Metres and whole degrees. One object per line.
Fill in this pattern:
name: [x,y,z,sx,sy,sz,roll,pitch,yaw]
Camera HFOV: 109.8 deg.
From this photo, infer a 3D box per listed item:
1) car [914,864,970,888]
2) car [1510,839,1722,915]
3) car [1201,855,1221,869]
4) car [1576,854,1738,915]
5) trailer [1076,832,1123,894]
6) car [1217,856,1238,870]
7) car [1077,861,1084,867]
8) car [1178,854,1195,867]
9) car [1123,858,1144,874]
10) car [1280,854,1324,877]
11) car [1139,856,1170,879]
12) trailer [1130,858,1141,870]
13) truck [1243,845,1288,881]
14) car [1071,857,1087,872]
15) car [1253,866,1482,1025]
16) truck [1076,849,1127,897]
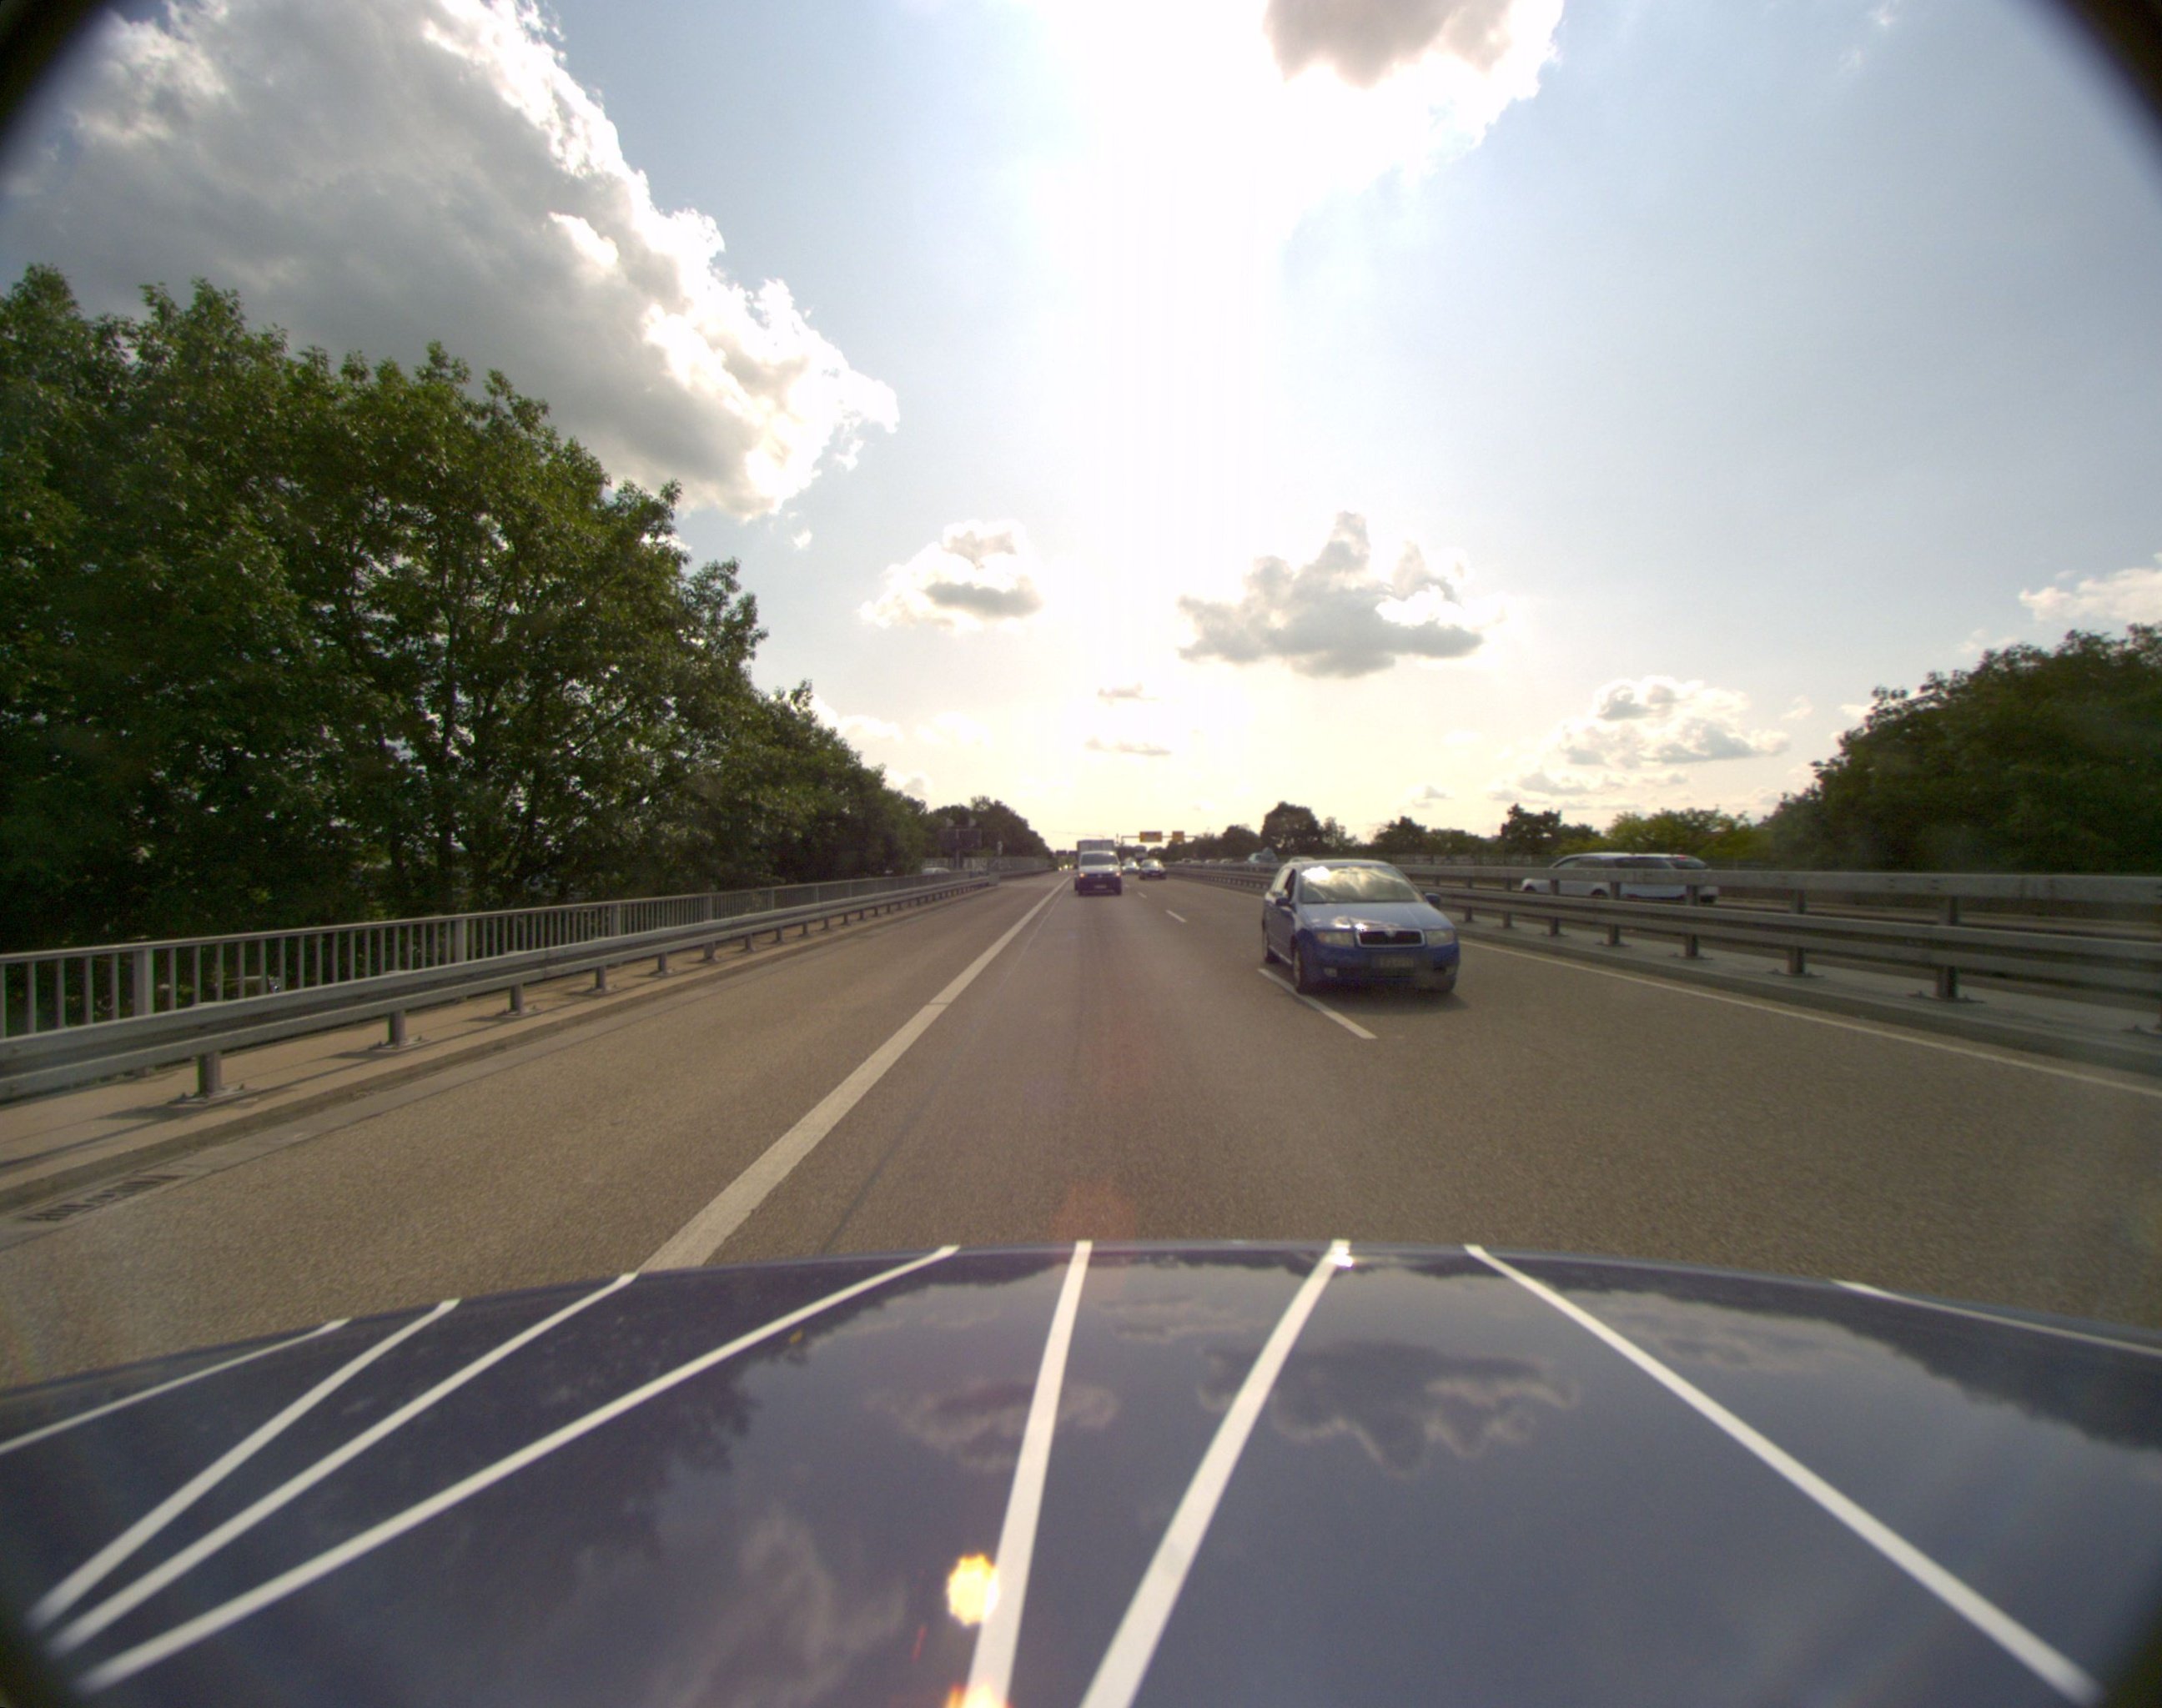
car: [-9.362,1.443,51.403,1.765,1.403,3.777,-2,0,26]
car: [12.392,0.486,18.016,1.907,1.520,4.242,-2,0,-2]
car: [16.677,1.064,97.419,1.586,1.700,4.411,-2,-1,-1]
car: [16.797,0.836,22.450,1.833,1.572,3.954,-2,0,2]
trailer: [0.835,0.418,37.615,1.999,2.723,5.967,-2,0,0]
car: [16.804,1.016,87.122,1.602,1.466,3.631,1,0,-2]
car: [-0.200,3.027,232.371,1.895,1.518,4.465,-2,0,1]
car: [17.671,1.117,127.387,1.965,1.913,5.191,-3,-1,-2]
car: [5.503,1.251,79.564,1.895,1.518,4.465,-2,0,1]
car: [16.938,0.829,58.419,1.896,1.630,4.512,-2,0,-2]
car: [5.372,0.938,55.885,1.779,1.518,4.465,-2,0,1]
trailer: [16.624,2.994,233.498,2.691,3.648,11.029,-2,0,1]
truck: [12.359,0.574,51.172,1.877,2.174,5.188,-2,0,2]
car: [-0.196,1.218,90.771,1.802,1.586,3.985,-2,0,1]
car: [3.164,0.920,9.171,1.625,1.403,3.773,-2,0,6]
truck: [0.840,0.788,32.609,2.008,1.905,4.000,-1,0,0]
